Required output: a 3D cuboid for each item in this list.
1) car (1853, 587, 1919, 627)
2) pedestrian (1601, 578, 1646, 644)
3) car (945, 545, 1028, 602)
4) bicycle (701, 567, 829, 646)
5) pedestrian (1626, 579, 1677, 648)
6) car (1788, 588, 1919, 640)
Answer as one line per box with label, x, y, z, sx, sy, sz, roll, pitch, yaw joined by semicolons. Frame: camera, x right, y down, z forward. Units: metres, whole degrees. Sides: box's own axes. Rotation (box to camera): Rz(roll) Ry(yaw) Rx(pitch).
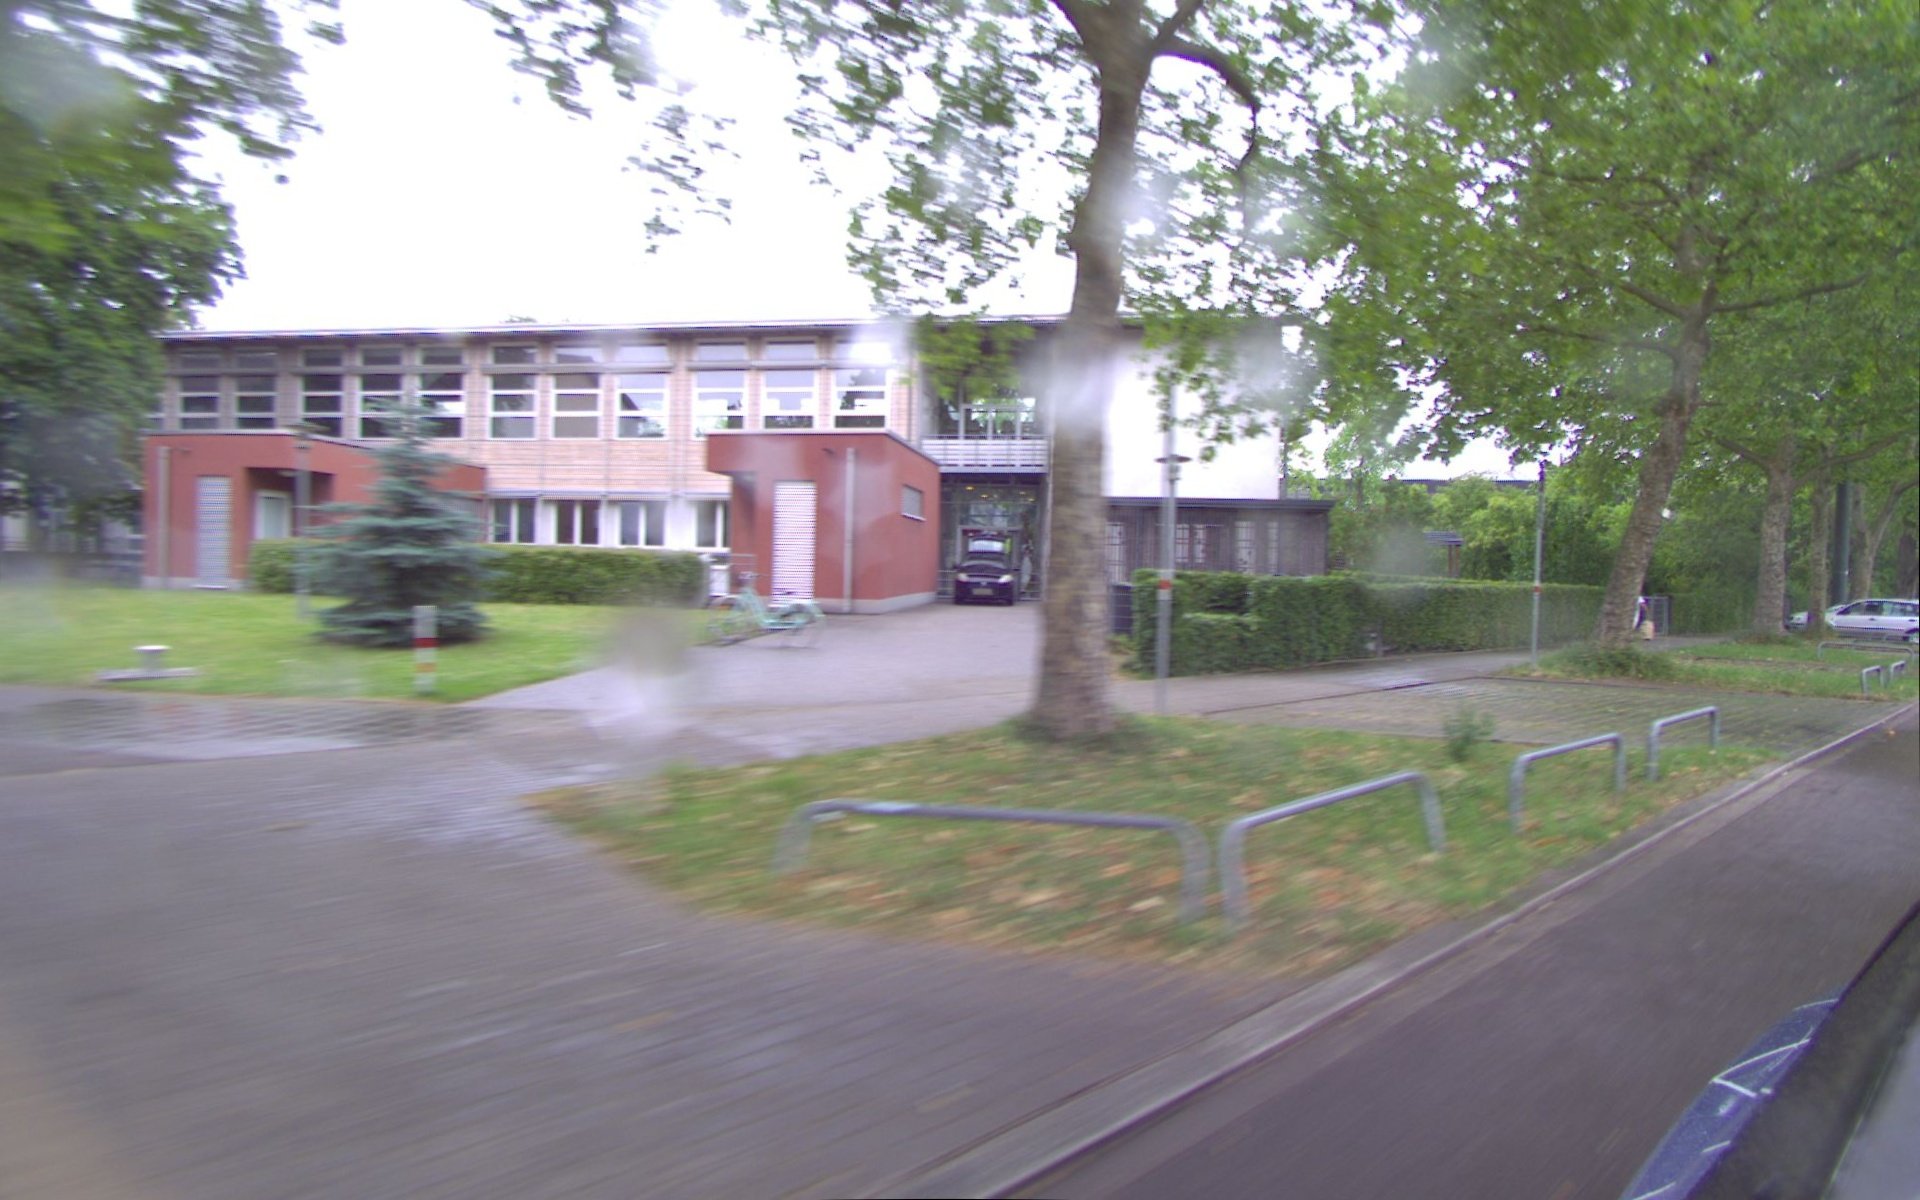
car;38.549;0.333;40.439;3.983;1.505;1.622;3;2;30
pedestrian;16.252;0.256;24.788;0.575;1.557;0.747;0;2;-42
car;0.790;-0.740;27.892;1.722;1.469;3.572;0;2;11
bicycle;-3.067;0.086;15.990;1.903;1.135;0.521;2;3;3
pedestrian;16.124;0.301;23.609;0.735;1.557;0.585;2;2;7
car;30.009;0.446;33.306;3.983;1.505;1.622;3;2;30
